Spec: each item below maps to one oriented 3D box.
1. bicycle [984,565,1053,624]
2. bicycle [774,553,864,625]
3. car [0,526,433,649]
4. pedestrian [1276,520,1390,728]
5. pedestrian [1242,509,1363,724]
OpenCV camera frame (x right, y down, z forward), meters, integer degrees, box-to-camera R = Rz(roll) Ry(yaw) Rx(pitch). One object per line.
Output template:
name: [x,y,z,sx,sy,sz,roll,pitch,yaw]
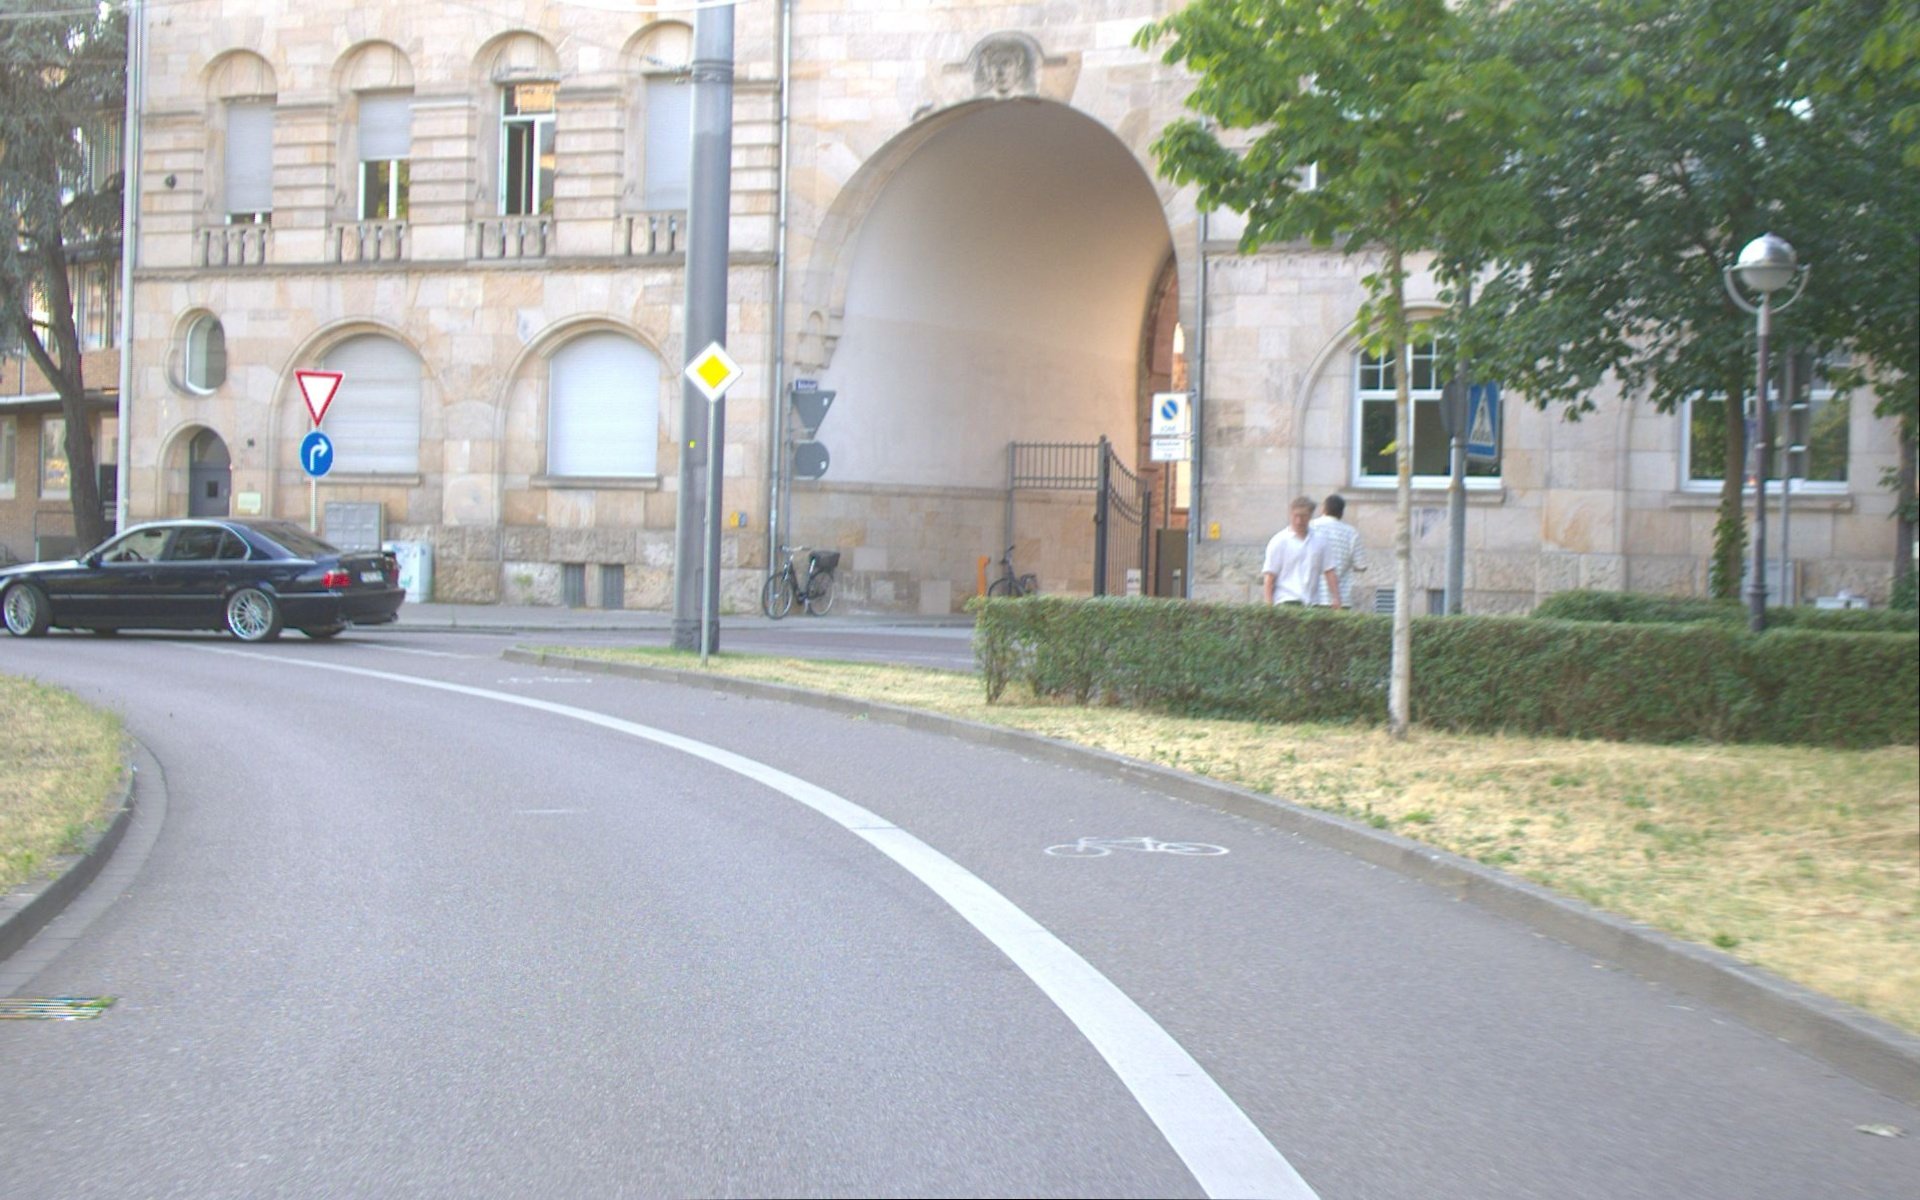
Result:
bicycle: [0.993,-0.103,58.055,0.481,0.952,1.510,3,2,29]
bicycle: [-2.161,-0.177,52.857,0.428,1.069,1.853,3,2,29]
car: [-8.556,-0.167,39.438,4.629,1.349,1.835,0,1,15]
pedestrian: [3.281,0.203,30.265,0.590,1.785,0.821,1,2,-27]
pedestrian: [2.794,0.124,28.078,0.766,1.709,0.786,2,2,-8]
